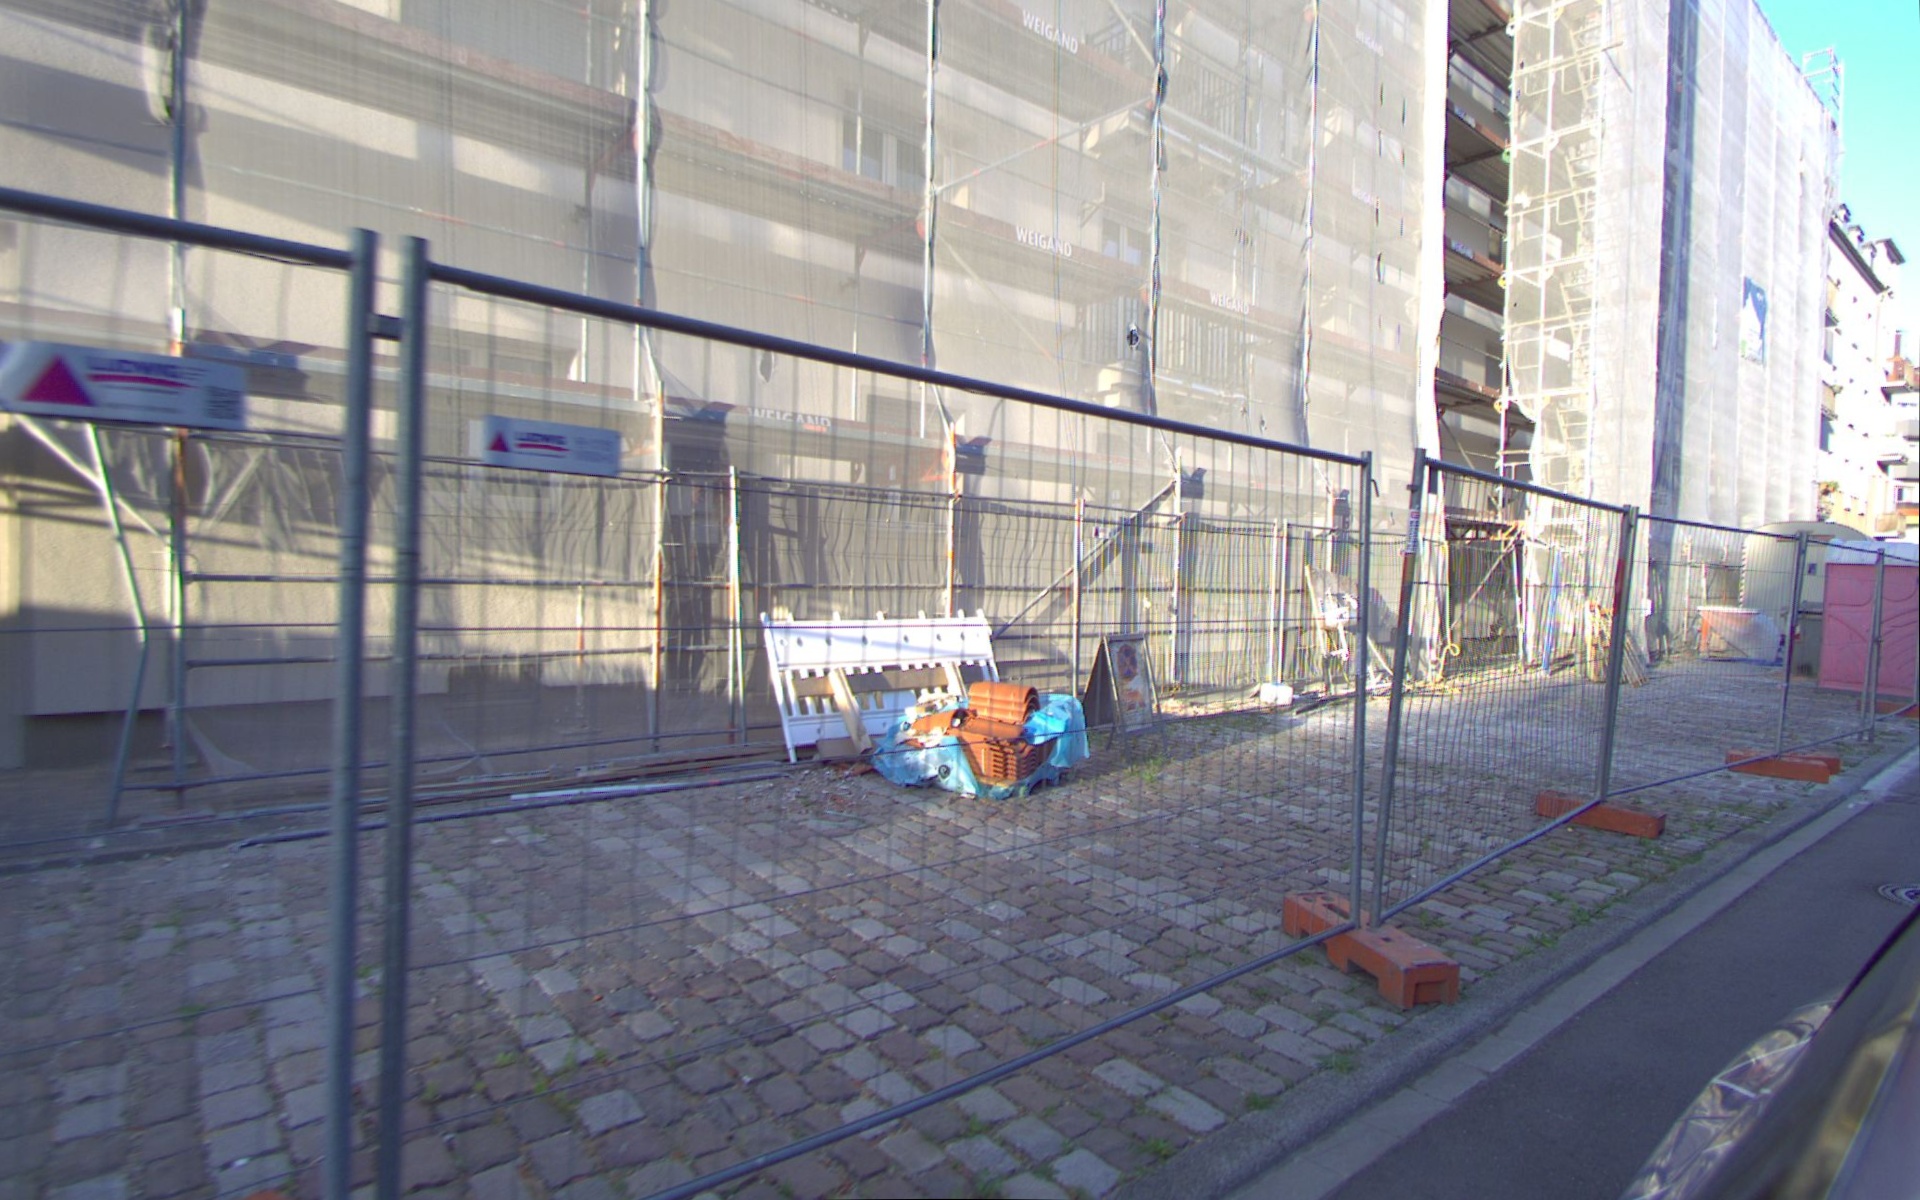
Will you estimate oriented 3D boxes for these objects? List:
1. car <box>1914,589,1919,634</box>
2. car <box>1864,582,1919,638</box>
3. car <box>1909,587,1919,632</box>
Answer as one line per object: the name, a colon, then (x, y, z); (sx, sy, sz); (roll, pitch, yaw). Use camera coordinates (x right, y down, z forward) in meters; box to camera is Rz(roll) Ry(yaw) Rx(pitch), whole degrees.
car: (35.767, 0.468, 34.961); (1.758, 1.591, 3.970); (0, 2, -42)
car: (29.913, 0.335, 30.144); (1.837, 1.635, 4.165); (0, 2, -38)
car: (37.246, 0.400, 36.683); (1.871, 1.658, 3.993); (0, 2, -42)
